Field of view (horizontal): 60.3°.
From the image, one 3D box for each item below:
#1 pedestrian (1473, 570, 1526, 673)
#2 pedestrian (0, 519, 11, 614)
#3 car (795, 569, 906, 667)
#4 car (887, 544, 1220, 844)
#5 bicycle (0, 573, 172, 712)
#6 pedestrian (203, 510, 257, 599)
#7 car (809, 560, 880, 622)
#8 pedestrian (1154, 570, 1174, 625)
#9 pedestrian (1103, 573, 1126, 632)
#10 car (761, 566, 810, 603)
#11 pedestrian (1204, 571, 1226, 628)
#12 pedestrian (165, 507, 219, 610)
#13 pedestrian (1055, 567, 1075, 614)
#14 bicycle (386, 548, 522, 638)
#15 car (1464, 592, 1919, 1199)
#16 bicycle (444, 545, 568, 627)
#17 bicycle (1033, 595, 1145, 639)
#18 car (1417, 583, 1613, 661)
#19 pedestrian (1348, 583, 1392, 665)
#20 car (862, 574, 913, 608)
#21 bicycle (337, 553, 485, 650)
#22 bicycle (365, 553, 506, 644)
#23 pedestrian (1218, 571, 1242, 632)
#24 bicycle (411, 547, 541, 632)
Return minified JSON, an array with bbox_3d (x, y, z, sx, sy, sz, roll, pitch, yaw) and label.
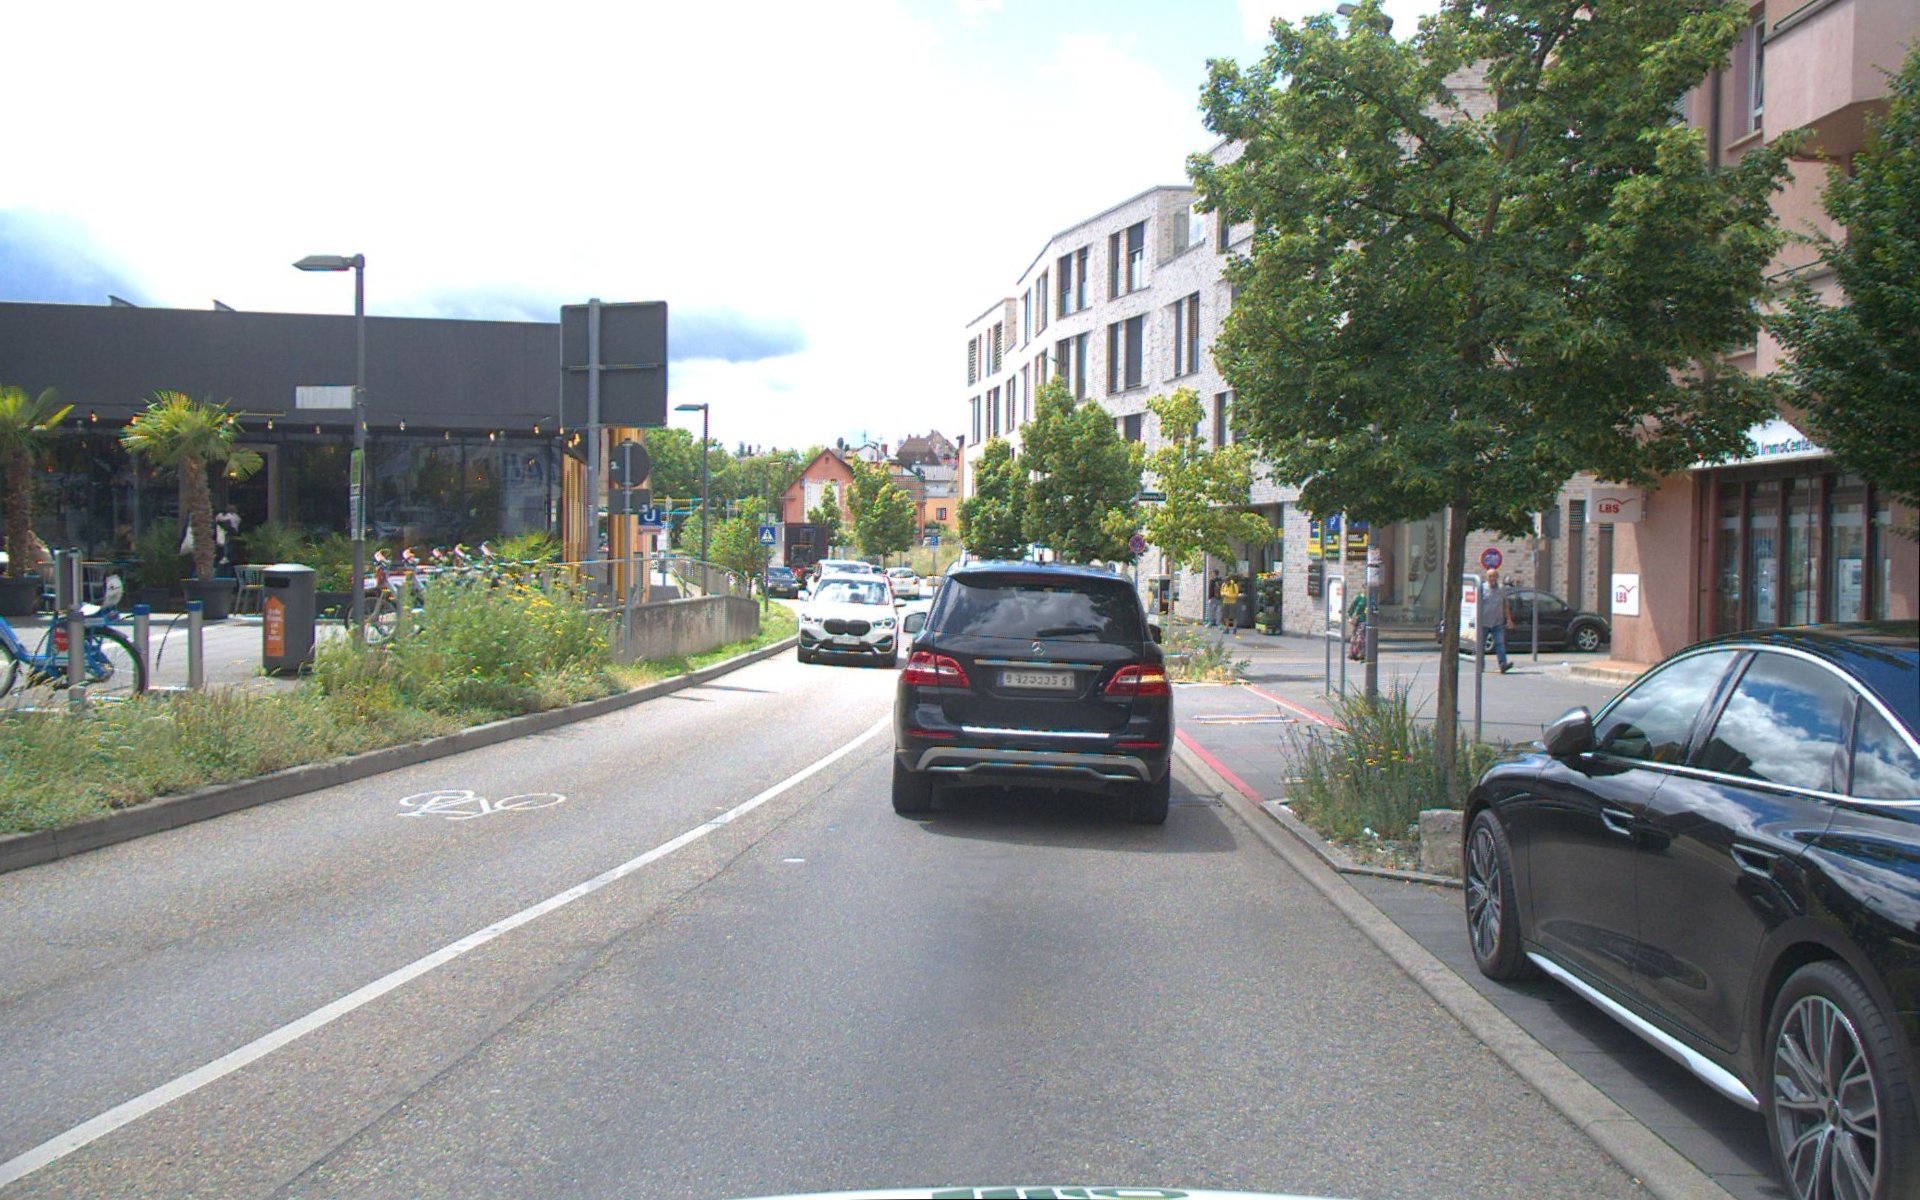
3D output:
[{"bbox_3d":[8.739,0.340,26.810,0.618,1.655,0.699,0,0,-2],"label":"pedestrian"},{"bbox_3d":[-14.372,-0.491,24.302,0.570,1.403,0.614,0,0,-11],"label":"pedestrian"},{"bbox_3d":[-1.987,0.285,31.054,1.803,1.636,4.000,3,1,-1],"label":"car"},{"bbox_3d":[0.594,0.582,12.531,1.986,1.757,4.433,3,0,0],"label":"car"},{"bbox_3d":[-6.806,0.307,12.430,1.577,1.014,0.500,0,0,7],"label":"bicycle"},{"bbox_3d":[-12.331,-0.761,27.946,0.568,1.489,0.616,0,0,9],"label":"pedestrian"},{"bbox_3d":[-3.857,-0.340,54.618,1.807,1.890,4.487,3,1,-10],"label":"car"},{"bbox_3d":[6.461,-0.084,52.413,0.547,1.712,0.568,0,0,-2],"label":"pedestrian"},{"bbox_3d":[4.504,0.057,48.316,0.649,1.712,0.568,0,0,3],"label":"pedestrian"},{"bbox_3d":[-8.302,-0.762,78.383,1.809,1.636,3.987,3,1,-13],"label":"car"},{"bbox_3d":[7.724,-0.032,50.060,0.547,1.712,0.568,0,0,-2],"label":"pedestrian"},{"bbox_3d":[-12.555,-0.676,27.024,0.604,1.646,0.581,0,1,36],"label":"pedestrian"},{"bbox_3d":[3.865,-0.355,61.095,0.551,1.712,0.565,0,0,-21],"label":"pedestrian"},{"bbox_3d":[-6.393,-0.092,20.949,1.535,1.110,0.578,0,0,1],"label":"bicycle"},{"bbox_3d":[3.004,0.708,4.938,1.818,1.430,4.376,-1,0,2],"label":"car"},{"bbox_3d":[-6.240,-0.198,22.762,1.535,1.110,0.578,0,0,1],"label":"bicycle"},{"bbox_3d":[3.533,0.459,45.389,2.999,1.166,0.709,0,1,-4],"label":"bicycle"},{"bbox_3d":[12.921,0.493,38.656,3.906,1.593,1.846,3,1,0],"label":"car"},{"bbox_3d":[8.063,0.459,32.536,0.696,1.590,0.568,0,0,-2],"label":"pedestrian"},{"bbox_3d":[-3.096,-0.404,69.894,1.580,1.407,3.826,0,1,-11],"label":"car"},{"bbox_3d":[-6.400,0.011,19.328,1.535,1.110,0.578,0,0,1],"label":"bicycle"},{"bbox_3d":[-6.367,-0.021,20.118,1.535,1.087,0.539,0,0,1],"label":"bicycle"},{"bbox_3d":[7.690,0.045,47.057,0.547,1.721,0.639,0,0,-2],"label":"pedestrian"},{"bbox_3d":[-6.375,-0.141,21.833,1.535,1.110,0.578,0,0,1],"label":"bicycle"}]
